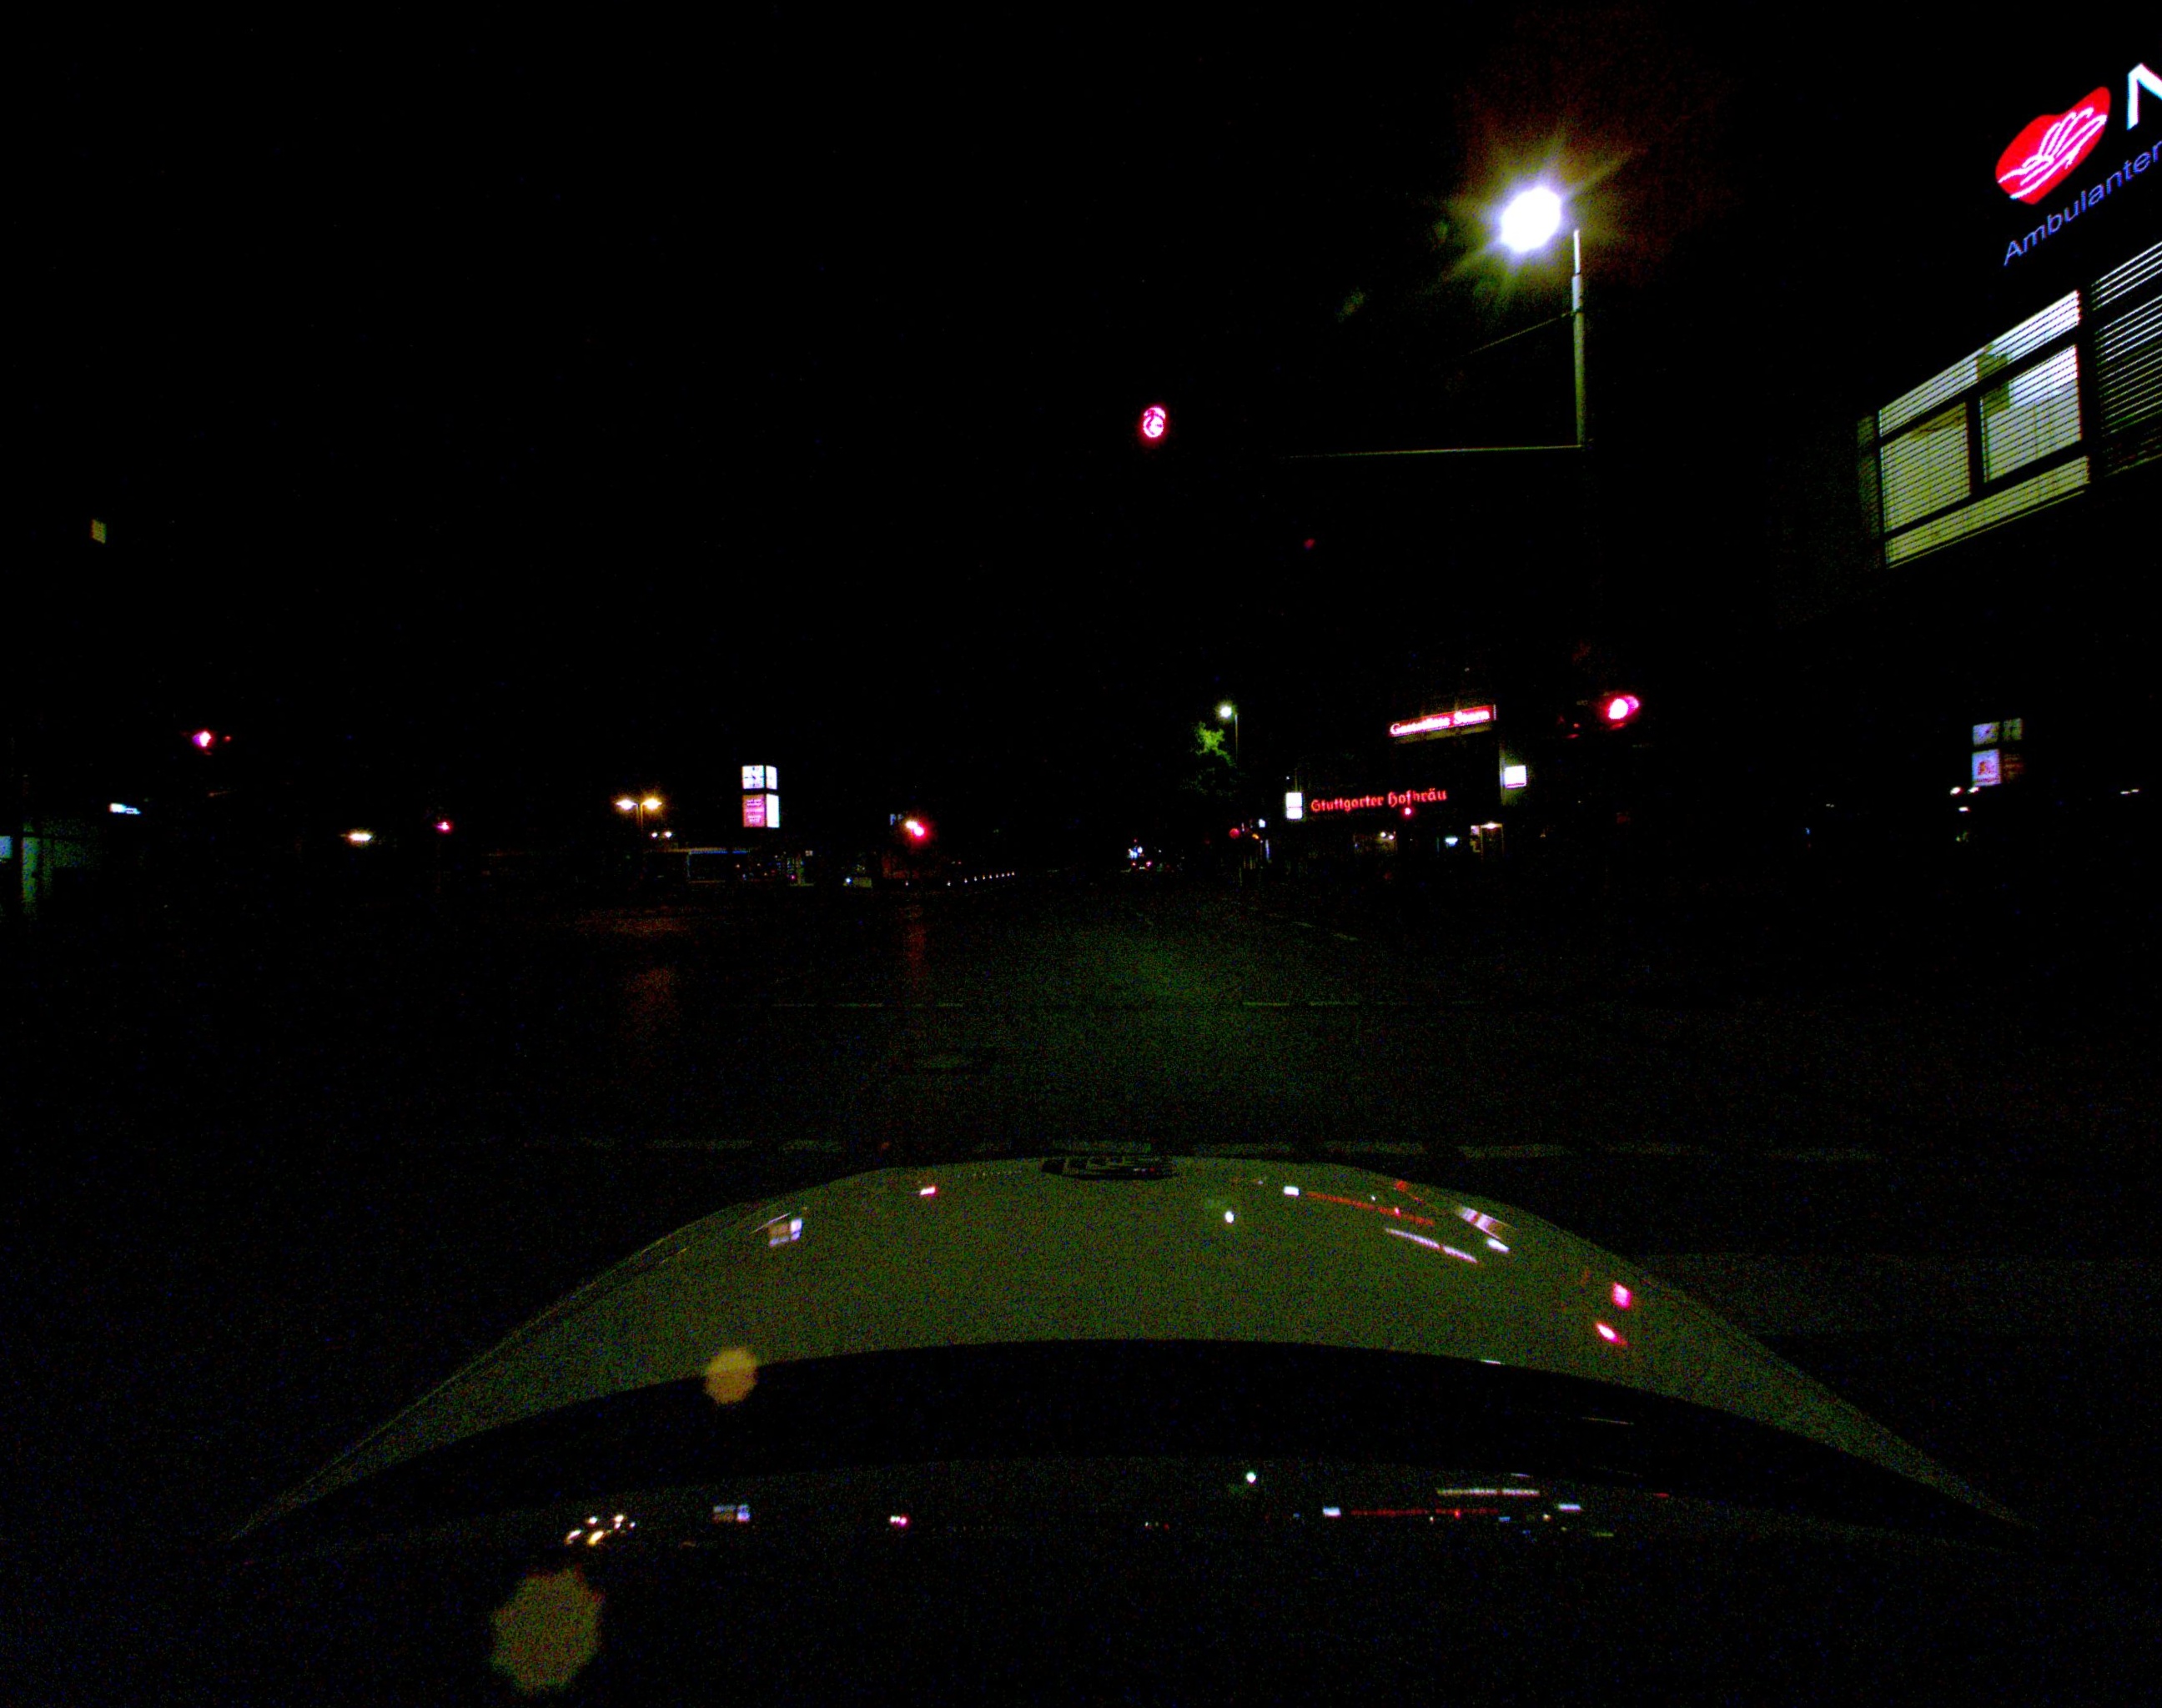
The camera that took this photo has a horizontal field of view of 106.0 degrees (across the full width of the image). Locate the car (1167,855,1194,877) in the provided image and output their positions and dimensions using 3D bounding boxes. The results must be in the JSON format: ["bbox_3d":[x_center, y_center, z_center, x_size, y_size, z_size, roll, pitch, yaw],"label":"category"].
[{"bbox_3d":[7.703,0.917,63.500,1.868,1.615,4.005,-2,-1,5],"label":"car"}]

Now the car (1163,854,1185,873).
[{"bbox_3d":[8.680,0.878,76.430,1.868,1.729,4.005,-2,-1,5],"label":"car"}]

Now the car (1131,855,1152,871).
[{"bbox_3d":[5.822,0.864,77.735,1.864,1.454,4.322,0,-1,5],"label":"car"}]

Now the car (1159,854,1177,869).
[{"bbox_3d":[10.051,0.893,94.442,1.868,1.683,4.005,-2,-1,5],"label":"car"}]

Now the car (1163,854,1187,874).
[{"bbox_3d":[7.885,0.832,68.773,1.868,1.615,4.005,-2,-1,5],"label":"car"}]
